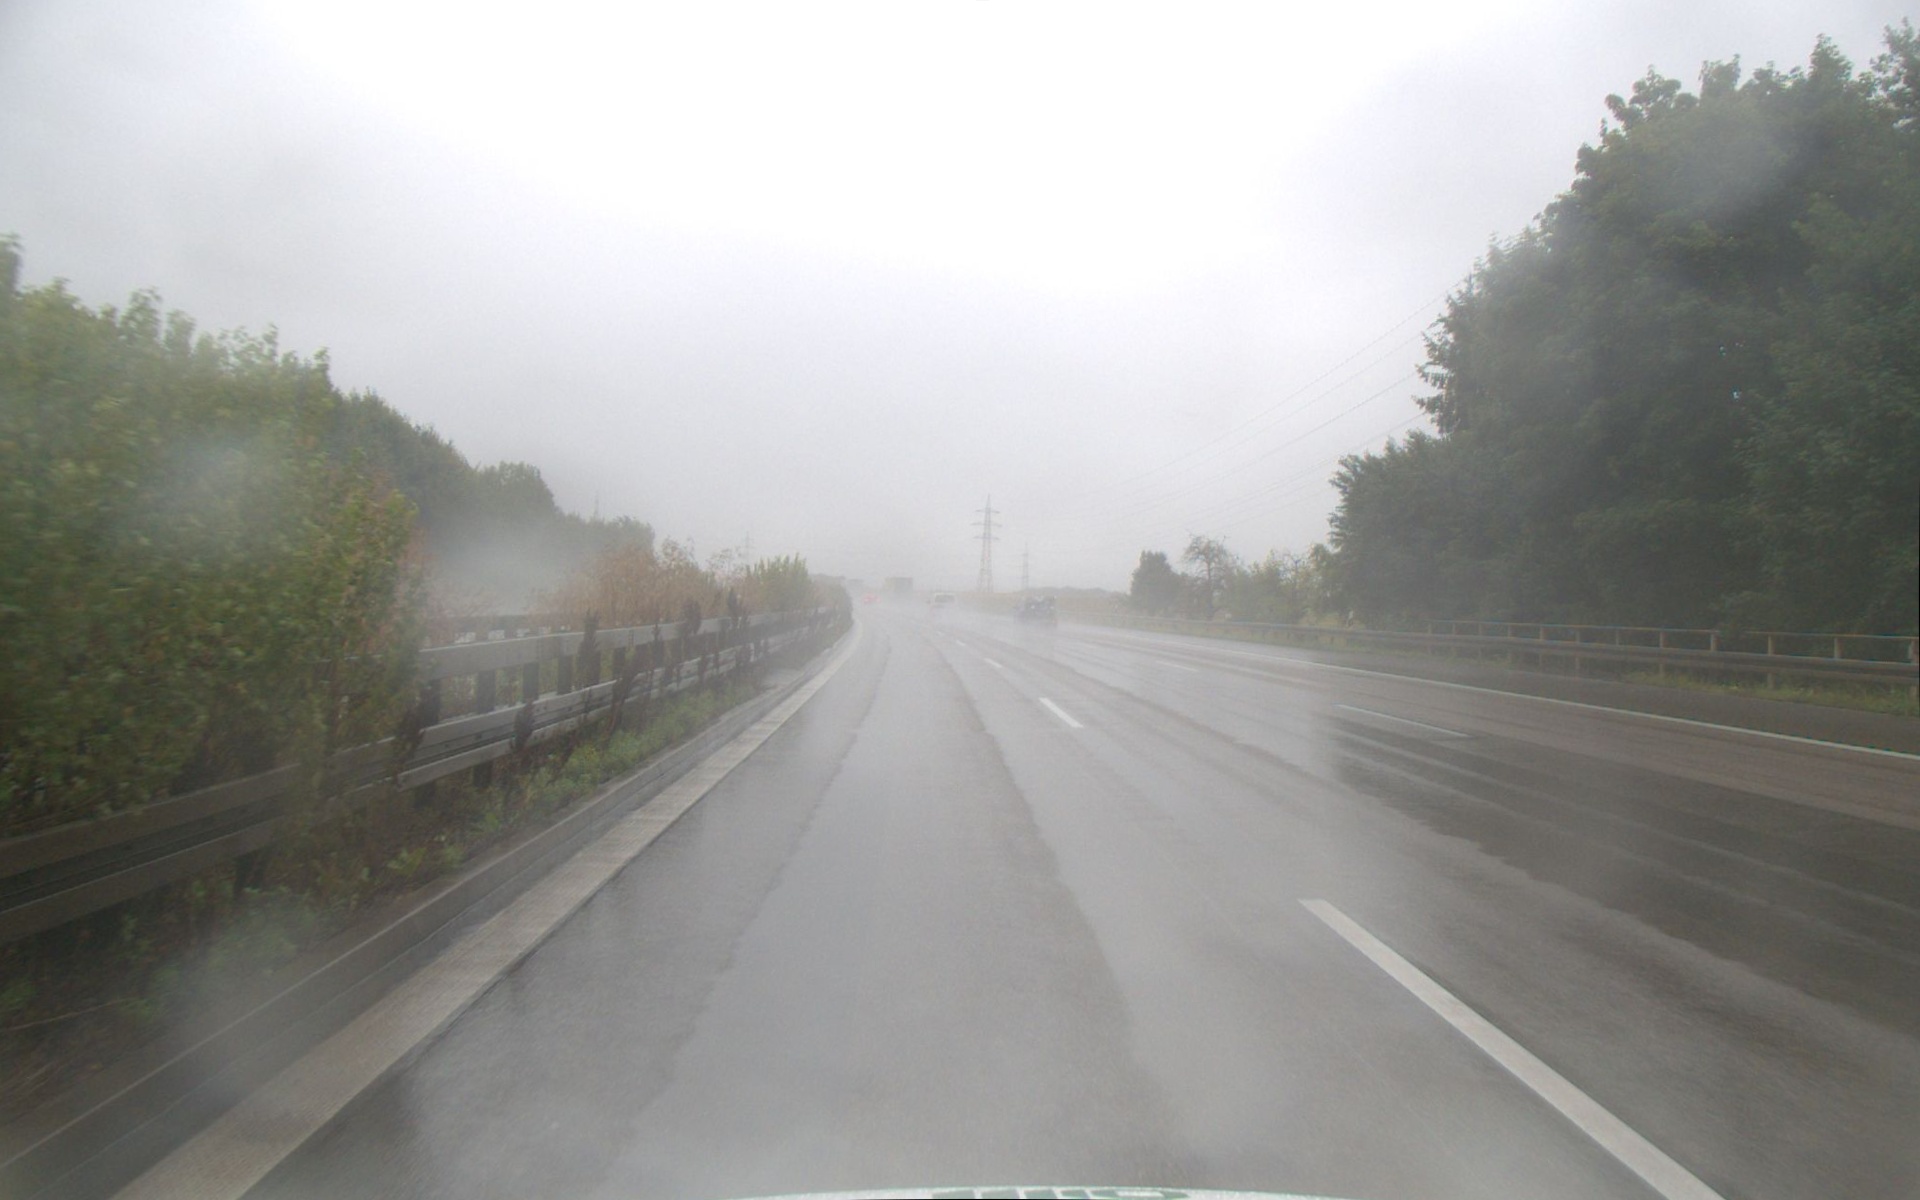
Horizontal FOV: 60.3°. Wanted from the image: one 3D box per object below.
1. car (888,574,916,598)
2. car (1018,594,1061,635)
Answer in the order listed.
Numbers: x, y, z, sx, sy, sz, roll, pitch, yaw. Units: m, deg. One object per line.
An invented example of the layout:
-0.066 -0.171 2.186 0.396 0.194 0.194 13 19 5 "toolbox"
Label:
-8.071 -1.902 229.887 3.140 3.248 7.244 1 0 -8 "car"
4.371 0.788 91.905 1.772 2.196 3.995 1 0 -6 "car"
